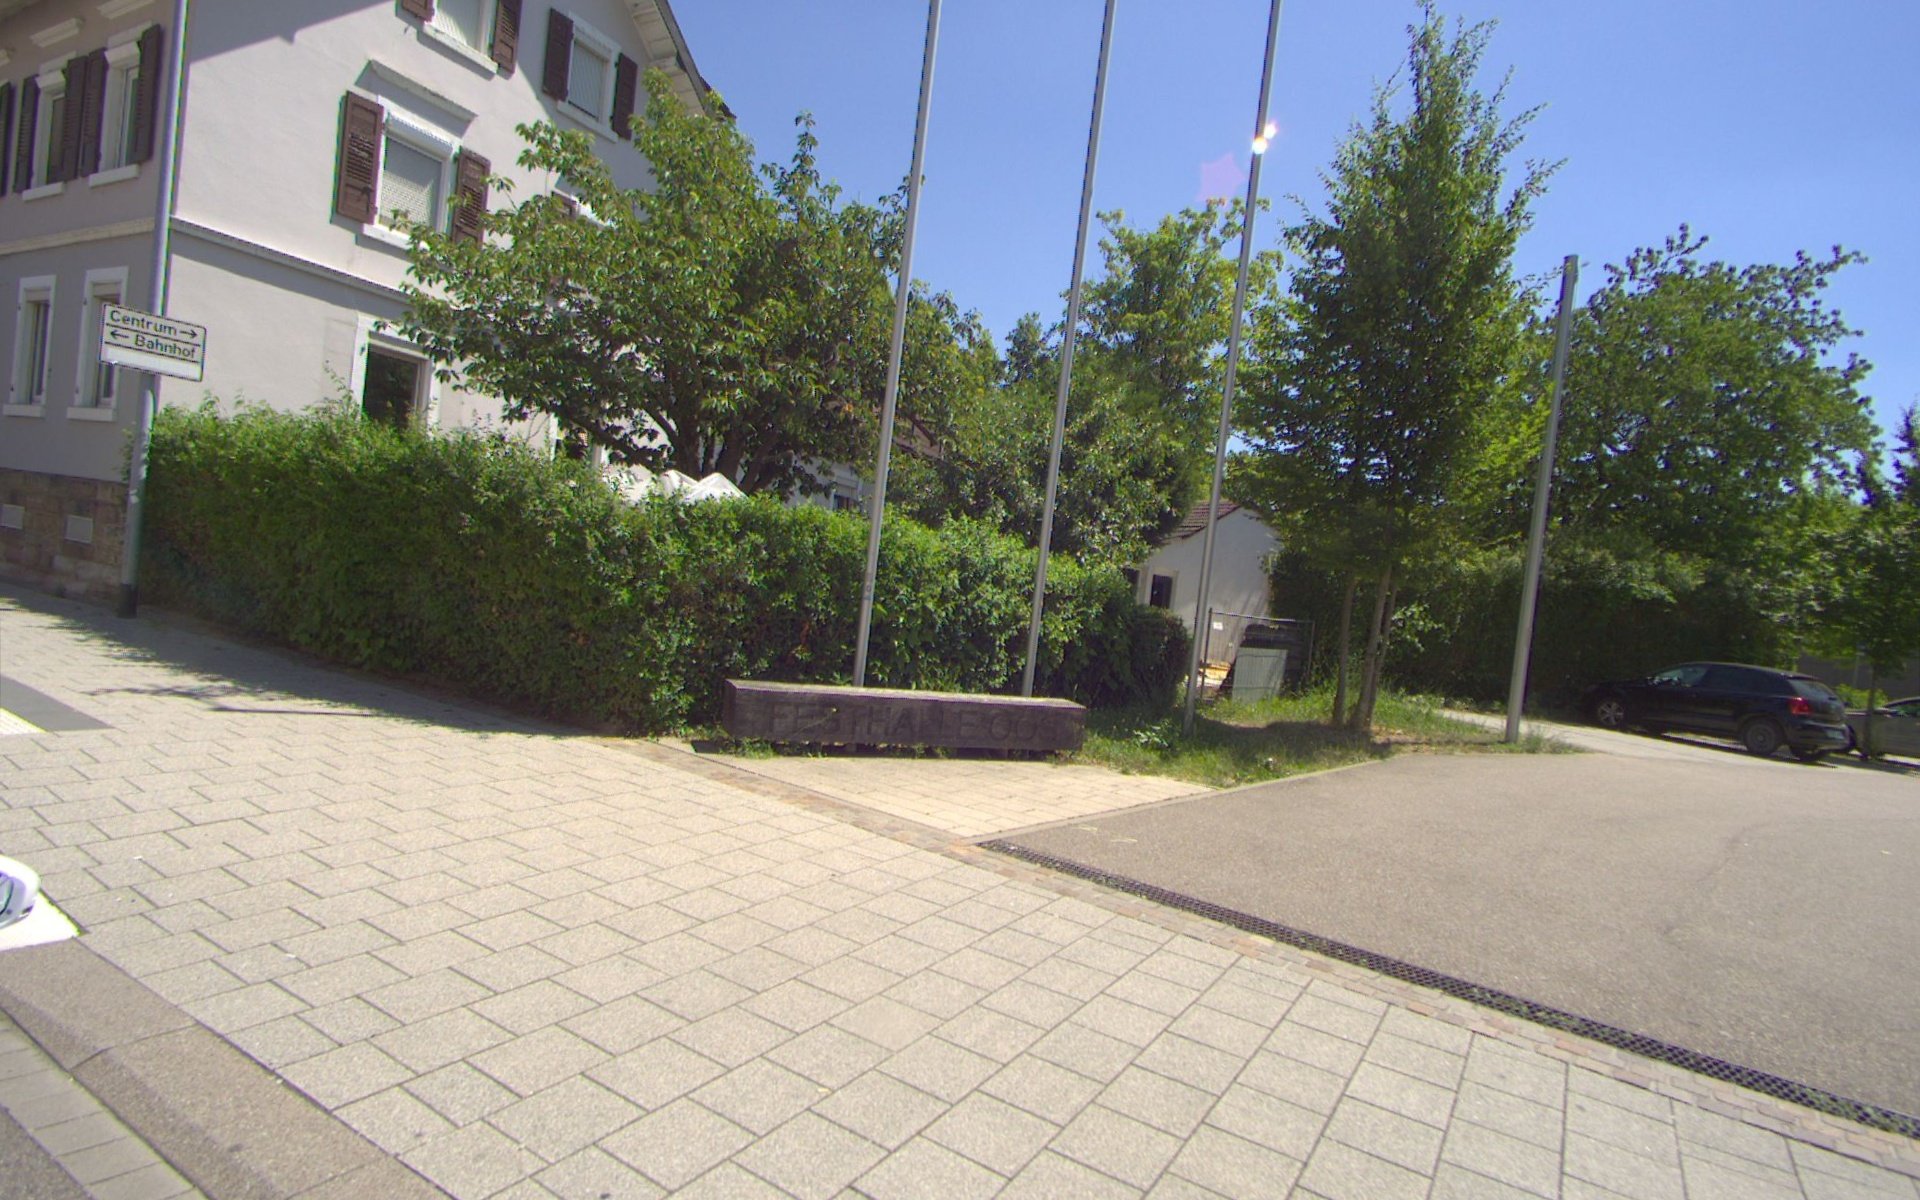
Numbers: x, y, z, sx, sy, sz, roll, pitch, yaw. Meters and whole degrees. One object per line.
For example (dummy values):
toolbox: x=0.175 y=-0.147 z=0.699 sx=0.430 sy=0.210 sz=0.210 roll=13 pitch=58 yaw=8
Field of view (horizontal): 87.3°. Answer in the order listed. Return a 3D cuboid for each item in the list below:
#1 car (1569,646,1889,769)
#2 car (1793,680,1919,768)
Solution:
car: x=13.320 y=1.817 z=17.718 sx=1.852 sy=1.459 sz=3.974 roll=6 pitch=1 yaw=-25
car: x=19.735 y=2.668 z=20.307 sx=1.853 sy=1.459 sz=3.973 roll=6 pitch=1 yaw=-26
